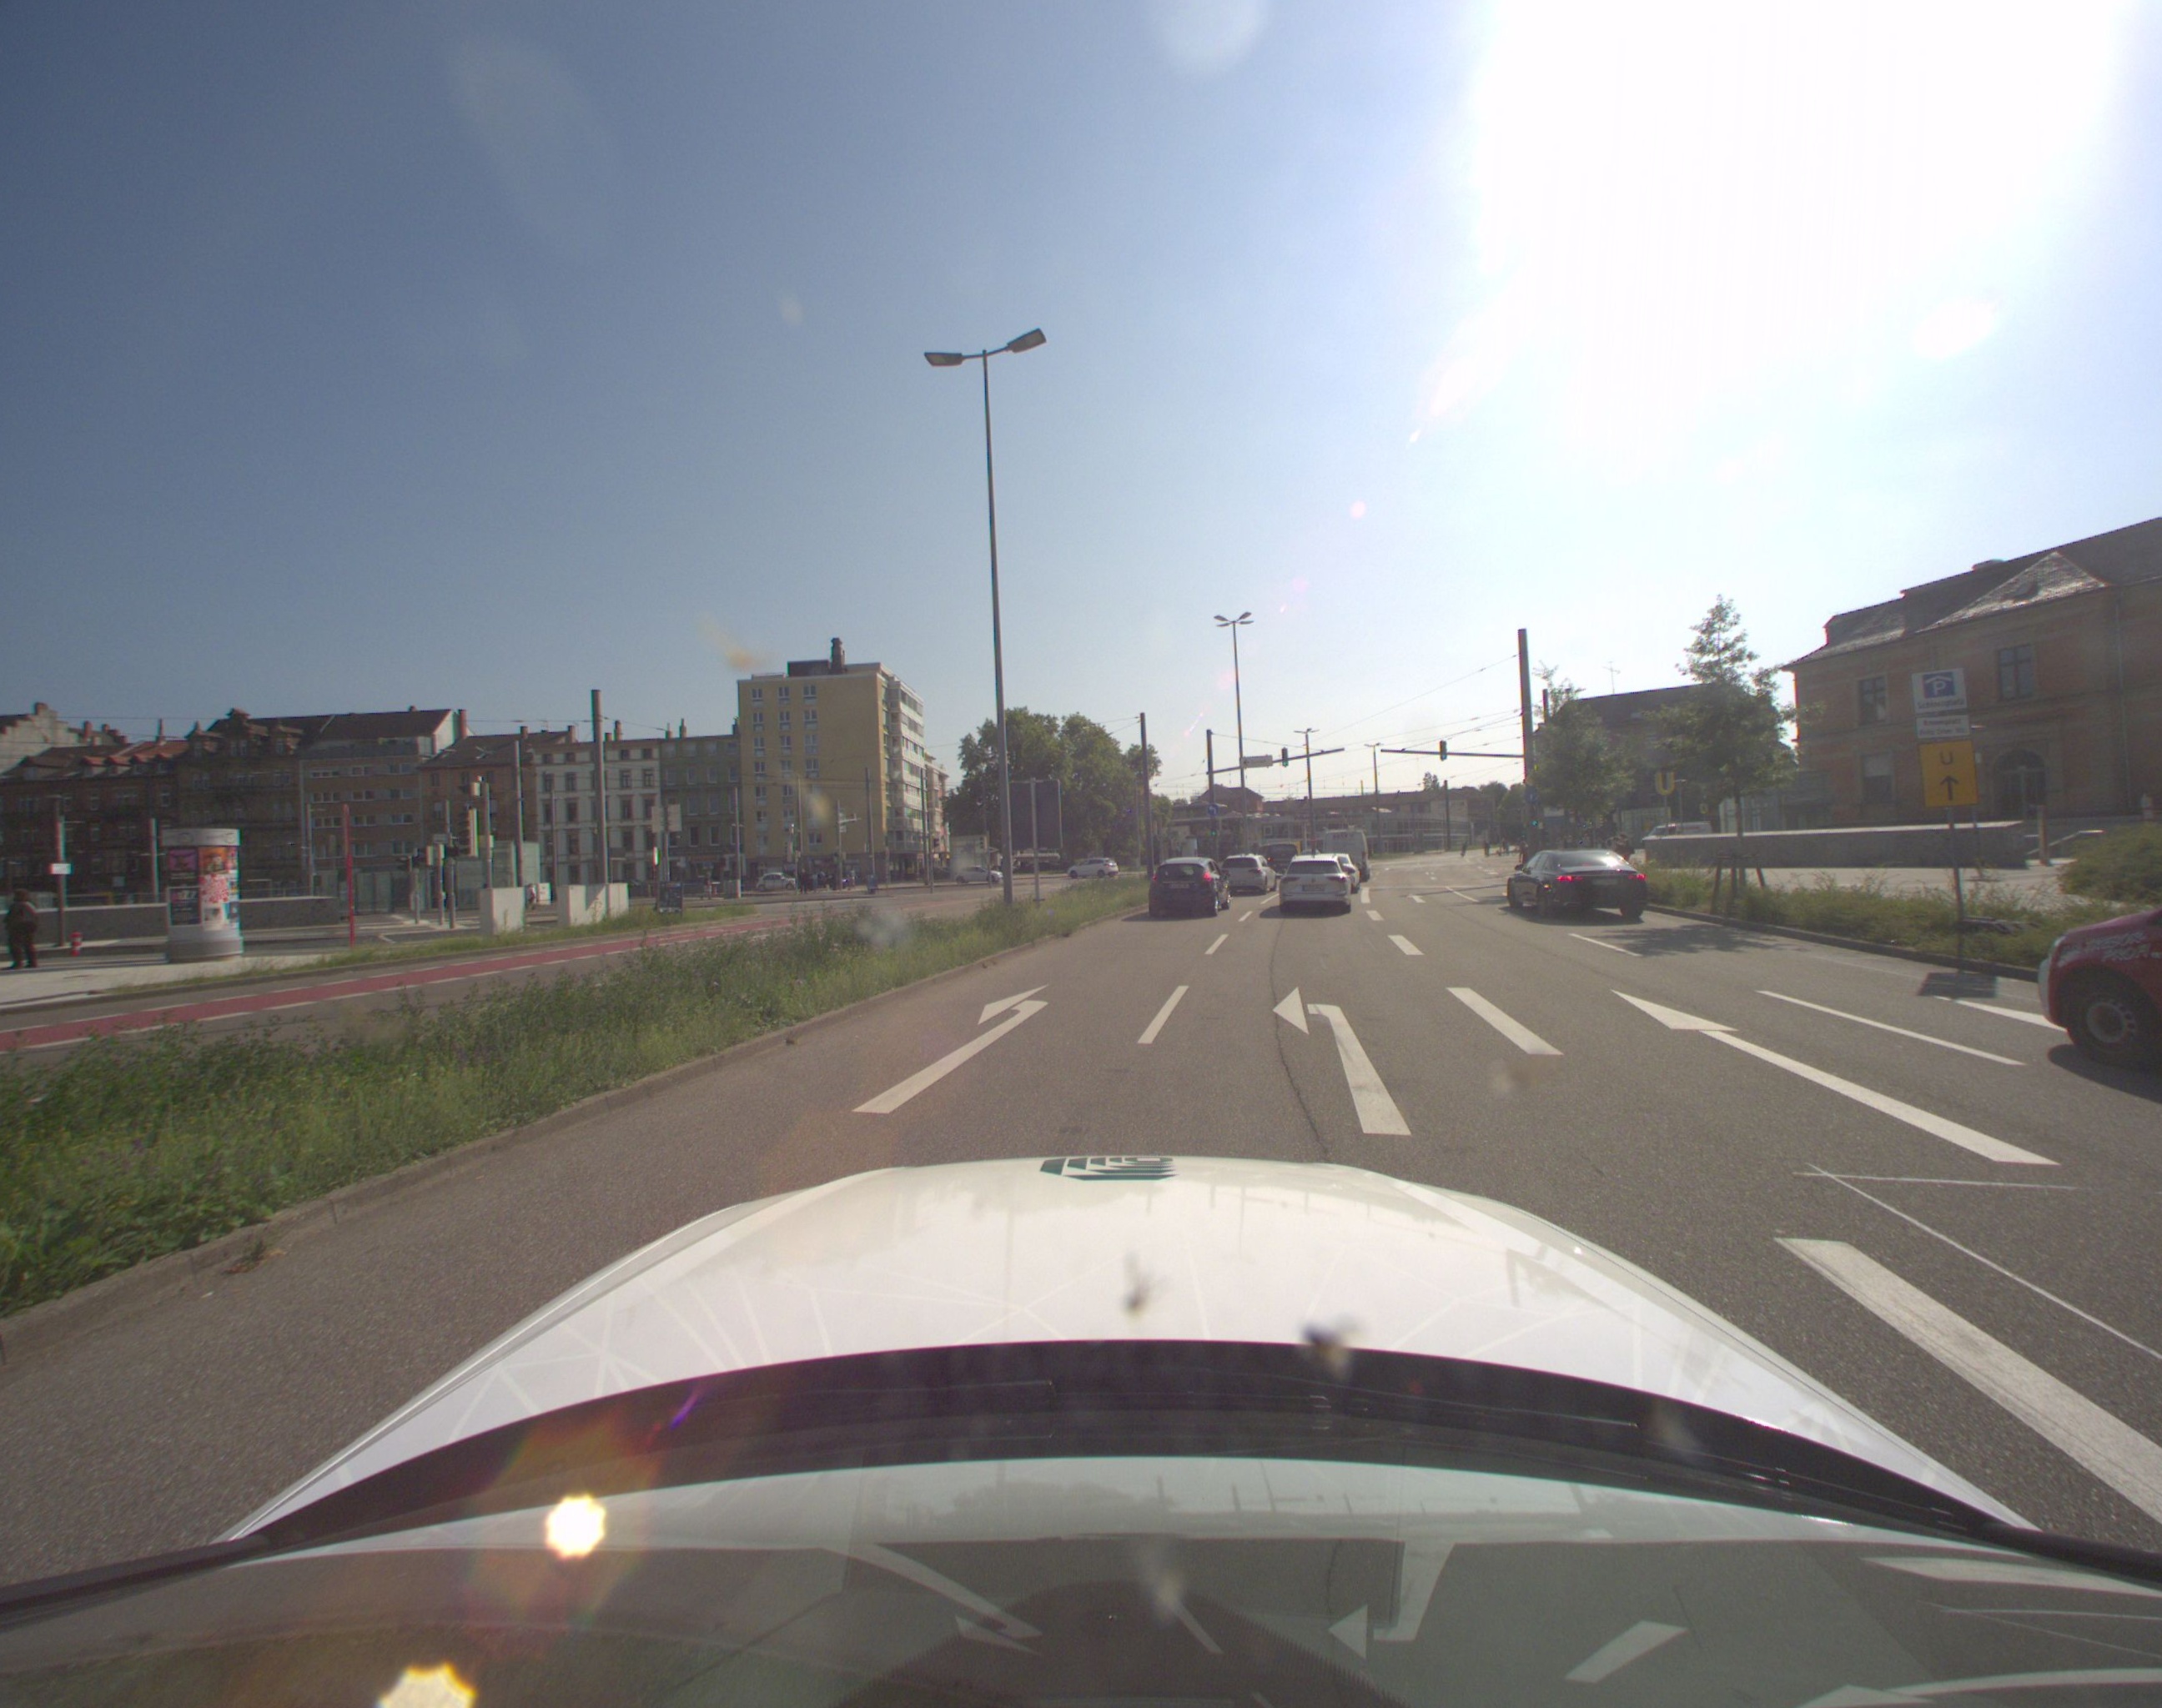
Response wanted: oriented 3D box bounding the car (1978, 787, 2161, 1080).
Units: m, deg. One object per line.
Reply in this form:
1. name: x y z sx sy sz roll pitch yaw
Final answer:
1. car: 7.352 0.469 4.008 1.721 1.819 4.291 -2 0 12

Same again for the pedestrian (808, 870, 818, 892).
1. pedestrian: -20.590 2.077 62.523 0.451 1.684 0.549 -2 2 14

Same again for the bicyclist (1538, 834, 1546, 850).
1. bicyclist: 53.500 -1.433 94.437 0.739 1.829 0.811 -3 -1 29

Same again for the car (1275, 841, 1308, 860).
1. car: 24.288 -0.430 93.962 1.974 2.013 4.694 -3 -1 36

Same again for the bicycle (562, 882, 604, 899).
1. bicycle: -47.835 3.498 78.247 3.517 1.347 0.774 -3 2 0

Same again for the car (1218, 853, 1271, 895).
1. car: 6.172 0.708 30.513 1.477 1.415 3.665 -2 0 18

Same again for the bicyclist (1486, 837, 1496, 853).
1. bicyclist: 39.219 -0.881 77.914 0.706 1.529 0.811 -3 -1 29

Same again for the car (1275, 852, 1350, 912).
1. car: 6.003 0.686 21.162 1.672 1.387 3.649 -2 -1 16

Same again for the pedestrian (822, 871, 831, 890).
1. pedestrian: -19.958 2.081 63.951 0.501 1.487 0.435 -4 2 -36

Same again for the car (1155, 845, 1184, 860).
1. car: 13.156 -0.257 120.750 3.959 2.013 2.008 -2 2 13

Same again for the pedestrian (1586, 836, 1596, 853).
1. pedestrian: 41.169 -0.771 65.684 0.651 1.360 0.663 -2 2 32

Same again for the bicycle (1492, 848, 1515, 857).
1. bicycle: 43.799 -0.147 84.446 2.032 0.894 0.751 -3 -1 32

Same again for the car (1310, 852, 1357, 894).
1. car: 9.214 0.669 29.896 1.478 1.403 3.958 -2 -1 16

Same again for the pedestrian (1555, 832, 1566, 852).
1. pedestrian: 46.620 -1.162 79.181 0.796 1.889 0.753 -3 -1 29

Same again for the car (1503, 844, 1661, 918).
1. car: 11.151 0.543 18.529 1.806 1.440 4.895 -2 0 16

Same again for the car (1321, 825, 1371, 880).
1. car: 13.301 -0.066 40.923 2.171 2.549 4.705 -2 -1 18

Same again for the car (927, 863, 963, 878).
1. car: -16.372 2.007 98.022 3.972 1.558 1.869 -3 -1 1

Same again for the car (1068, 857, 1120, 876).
1. car: 1.036 1.051 68.087 4.036 1.502 1.638 -3 -1 33

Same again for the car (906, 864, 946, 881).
1. car: -17.311 2.051 90.878 3.971 1.557 1.871 -2 2 2

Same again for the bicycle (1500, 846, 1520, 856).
1. bicycle: 44.749 -0.325 84.885 1.780 0.885 0.766 -3 -1 32

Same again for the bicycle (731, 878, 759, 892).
1. bicycle: -32.400 2.988 78.556 2.460 1.115 0.732 -4 2 -27

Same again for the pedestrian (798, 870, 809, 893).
1. pedestrian: -21.155 2.101 62.100 0.450 1.684 0.551 -2 2 27

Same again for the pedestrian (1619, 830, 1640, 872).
1. pedestrian: 22.013 -0.114 32.713 0.608 1.628 0.537 -3 -1 33

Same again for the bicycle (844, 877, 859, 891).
1. bicycle: -17.847 2.312 63.372 0.725 0.984 1.730 -2 -1 -2

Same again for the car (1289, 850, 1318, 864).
1. car: 24.665 0.327 90.240 1.876 1.324 4.159 -3 -1 34

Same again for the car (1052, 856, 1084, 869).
1. car: -1.640 1.079 103.267 3.972 1.558 1.728 -3 -1 1

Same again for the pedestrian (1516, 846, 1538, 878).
1. pedestrian: 19.835 0.348 36.208 0.632 1.362 0.636 -3 -1 12

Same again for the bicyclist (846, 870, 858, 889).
1. bicyclist: -17.862 2.013 63.453 0.724 1.434 0.689 -2 -1 -2

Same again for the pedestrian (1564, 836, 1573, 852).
1. pedestrian: 41.852 -0.883 69.932 0.651 1.360 0.663 -2 2 32

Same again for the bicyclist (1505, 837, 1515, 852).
1. bicyclist: 44.715 -0.971 84.903 0.796 1.498 0.753 -3 -1 32

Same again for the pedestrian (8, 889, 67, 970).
1. pedestrian: -21.257 1.525 16.592 0.493 1.579 0.510 -2 2 17

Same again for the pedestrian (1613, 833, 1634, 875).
1. pedestrian: 21.305 -0.005 31.974 0.608 1.639 0.537 -3 -1 35

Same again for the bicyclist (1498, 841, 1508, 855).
1. bicyclist: 43.776 -0.606 84.453 0.796 1.460 0.753 -3 -1 32

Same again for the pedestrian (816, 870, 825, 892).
1. pedestrian: -20.361 2.108 63.603 0.458 1.684 0.435 -4 2 -36

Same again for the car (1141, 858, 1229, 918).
1. car: 2.813 0.827 21.280 1.688 1.368 3.979 -2 -1 15

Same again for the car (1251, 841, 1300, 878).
1. car: 11.584 0.331 48.751 2.015 2.008 4.687 -2 -1 3

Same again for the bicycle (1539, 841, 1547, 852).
1. bicycle: 53.523 -0.831 94.432 0.732 1.217 2.259 -3 0 29

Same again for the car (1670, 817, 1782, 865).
1. car: 30.124 -0.643 38.086 3.979 2.013 1.751 -3 2 -4

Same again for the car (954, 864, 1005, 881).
1. car: -8.186 1.477 65.919 3.808 1.180 1.579 -3 -1 7

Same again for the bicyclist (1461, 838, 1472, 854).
1. bicyclist: 39.745 -0.805 84.064 0.764 1.578 0.997 -3 -1 38

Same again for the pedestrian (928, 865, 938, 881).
1. pedestrian: -15.556 1.983 85.476 0.848 1.621 0.541 -3 -1 -2

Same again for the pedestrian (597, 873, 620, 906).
1. pedestrian: -27.211 2.031 46.930 0.774 1.786 0.857 -1 2 -1

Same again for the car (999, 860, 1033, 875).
1. car: -7.866 1.629 98.914 3.972 1.558 1.728 -3 -1 1

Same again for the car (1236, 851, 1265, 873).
1. car: 12.628 0.565 60.827 1.557 1.373 4.002 -2 2 4

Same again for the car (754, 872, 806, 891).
1. car: -25.645 2.358 69.424 3.722 1.393 1.588 -3 -1 2

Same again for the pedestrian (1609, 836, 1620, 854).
1. pedestrian: 41.579 -0.729 63.435 0.651 1.360 0.663 -2 2 32

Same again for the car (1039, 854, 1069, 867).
1. car: -3.743 0.911 112.194 3.972 1.558 1.728 -3 -1 1

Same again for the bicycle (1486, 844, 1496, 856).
1. bicycle: 39.205 -0.388 77.845 0.699 1.061 1.994 -3 -1 29

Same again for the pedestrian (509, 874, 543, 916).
1. pedestrian: -28.734 2.106 42.175 0.954 2.013 1.023 -2 2 2
